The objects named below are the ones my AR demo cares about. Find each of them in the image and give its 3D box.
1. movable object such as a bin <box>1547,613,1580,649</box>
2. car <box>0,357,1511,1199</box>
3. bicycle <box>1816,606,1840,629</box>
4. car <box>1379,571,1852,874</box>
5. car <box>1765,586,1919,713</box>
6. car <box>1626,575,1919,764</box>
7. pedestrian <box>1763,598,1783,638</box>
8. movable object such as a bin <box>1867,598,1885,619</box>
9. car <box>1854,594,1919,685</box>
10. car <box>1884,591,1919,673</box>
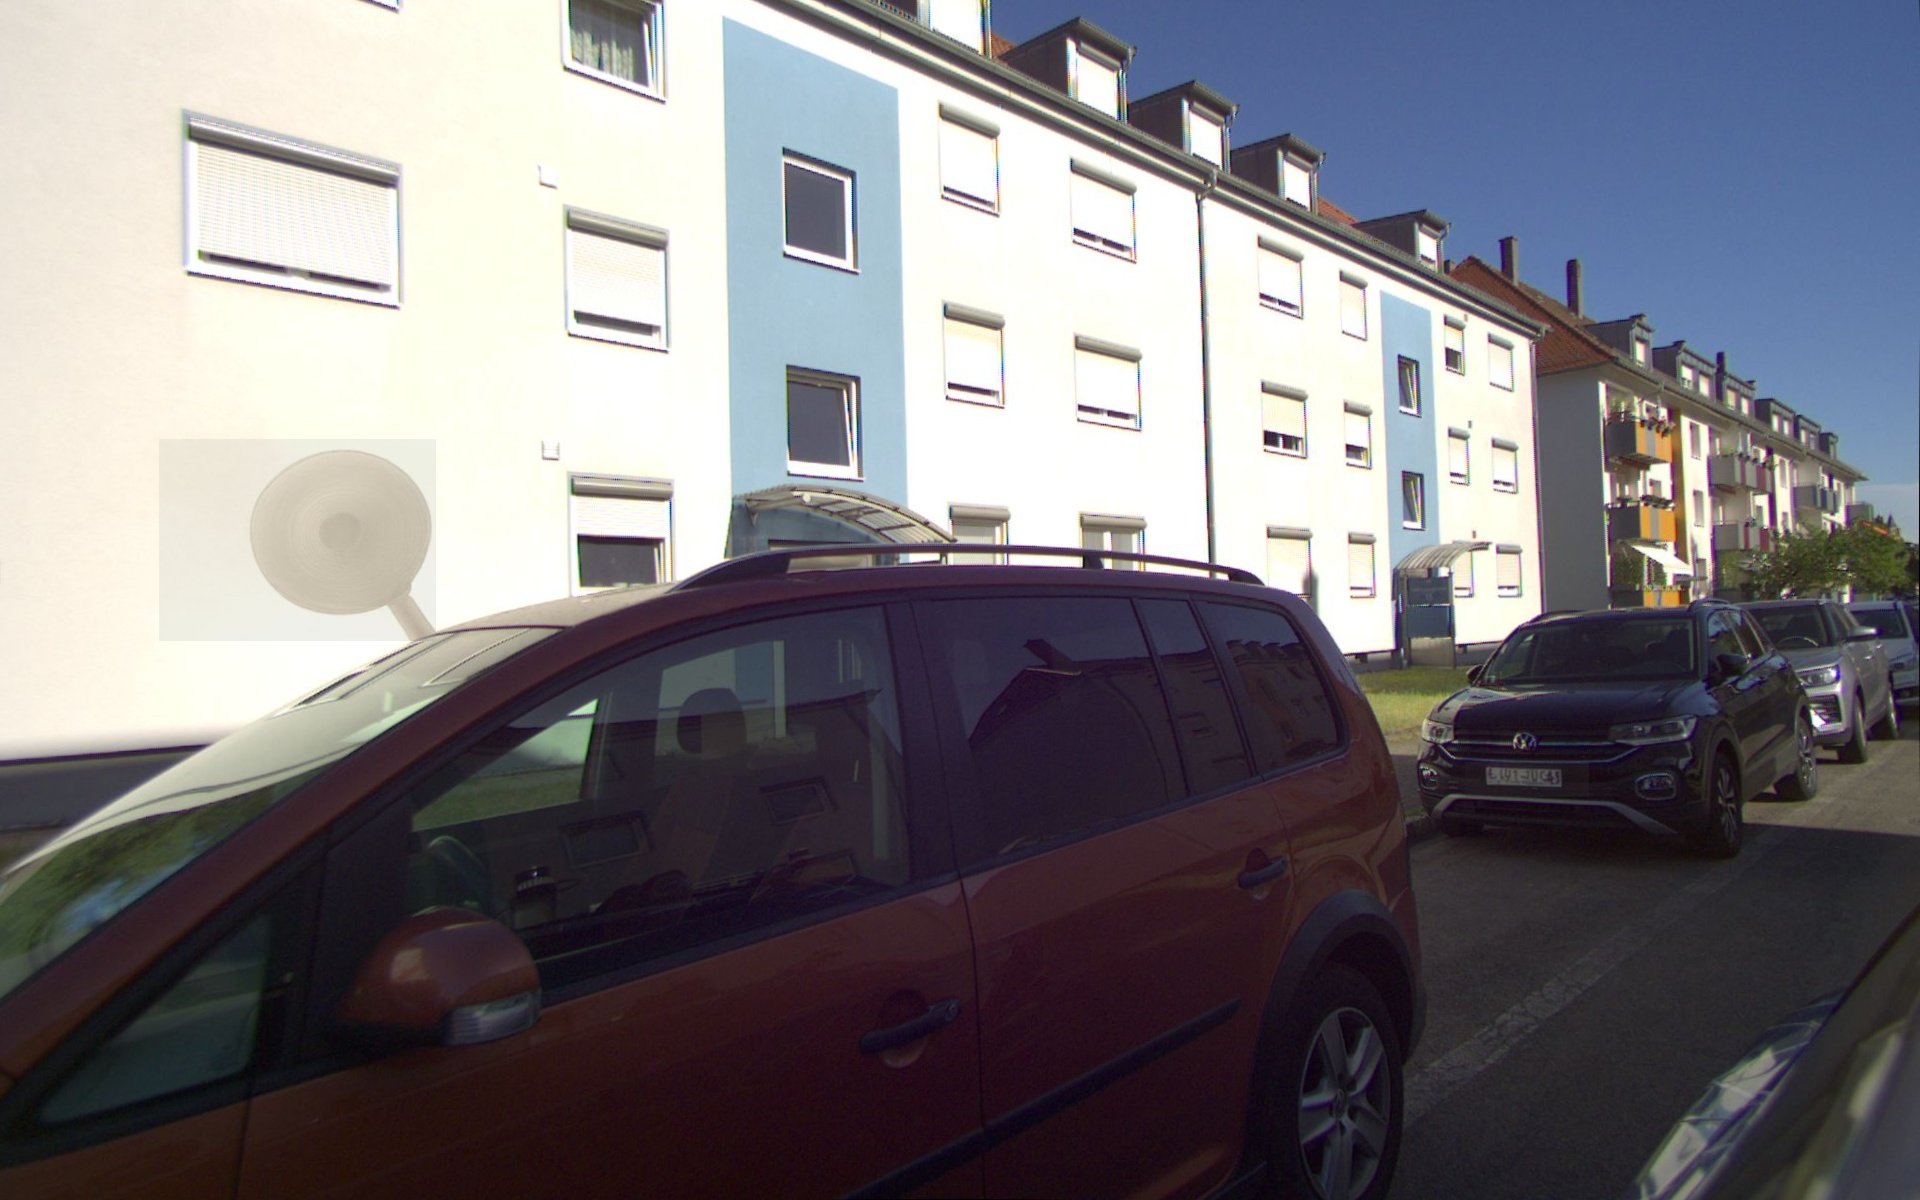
[{"bbox_3d":[18.681,0.954,31.313,0.744,1.047,0.644,-3,1,-40],"label":"movable object such as a bin"},{"bbox_3d":[-0.642,0.691,2.253,4.055,1.690,1.864,0,-5,-41],"label":"car"},{"bbox_3d":[40.770,0.812,47.547,2.248,1.062,0.521,0,0,-41],"label":"bicycle"},{"bbox_3d":[5.023,0.709,7.495,4.321,1.617,1.714,0,-4,-41],"label":"car"},{"bbox_3d":[13.243,0.653,14.659,4.358,1.595,1.692,0,-3,-42],"label":"car"},{"bbox_3d":[8.896,0.667,10.934,4.376,1.639,1.751,0,-4,-43],"label":"car"},{"bbox_3d":[30.492,0.674,37.957,0.353,1.514,0.451,-2,0,-40],"label":"pedestrian"},{"bbox_3d":[67.278,0.644,74.339,0.906,1.539,0.865,0,-1,-42],"label":"movable object such as a bin"},{"bbox_3d":[17.690,0.661,18.300,4.082,1.518,1.644,0,-2,-40],"label":"car"},{"bbox_3d":[21.422,0.623,21.644,4.389,1.670,1.786,0,-3,-40],"label":"car"}]
